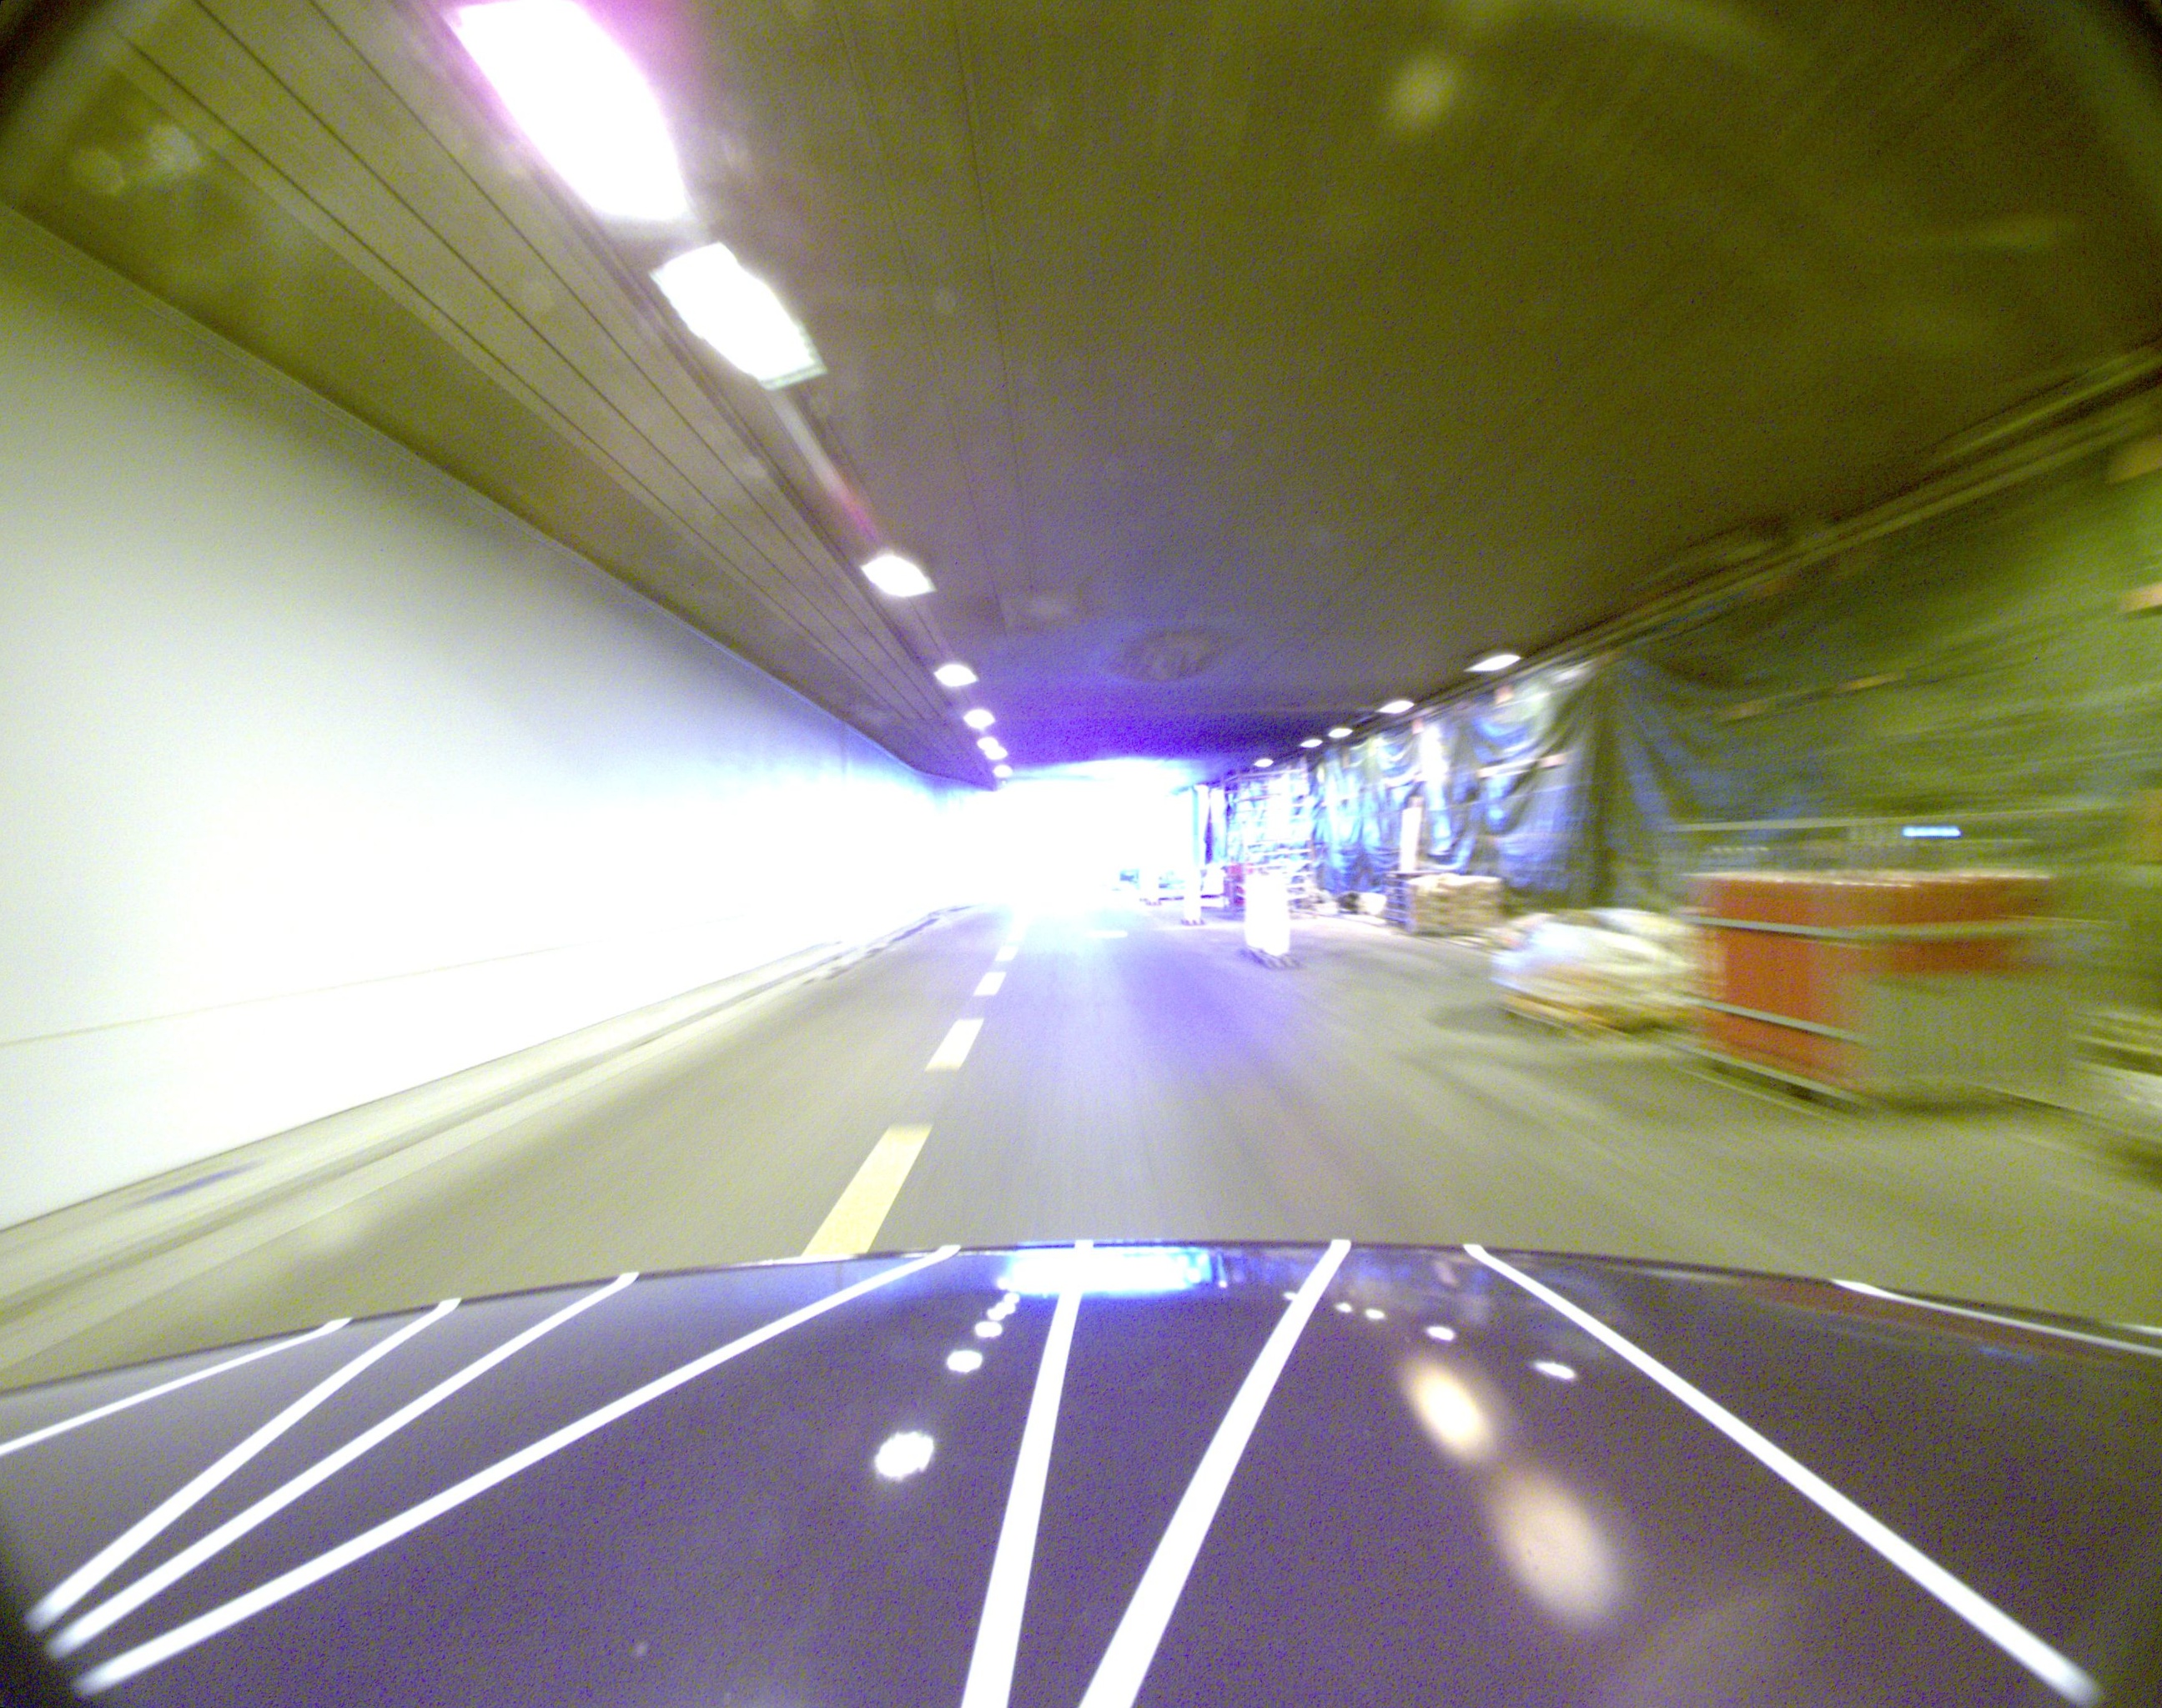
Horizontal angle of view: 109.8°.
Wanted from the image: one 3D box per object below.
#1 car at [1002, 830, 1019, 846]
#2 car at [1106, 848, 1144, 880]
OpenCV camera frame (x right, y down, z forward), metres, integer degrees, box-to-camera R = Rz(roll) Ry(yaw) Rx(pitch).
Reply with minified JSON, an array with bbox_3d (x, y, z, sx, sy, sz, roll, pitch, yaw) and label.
[{"bbox_3d":[-9.405,-2.087,101.691,1.892,2.002,3.999,-2,1,1],"label":"car"},{"bbox_3d":[2.522,0.538,44.517,1.998,1.743,3.999,-2,1,1],"label":"car"}]
